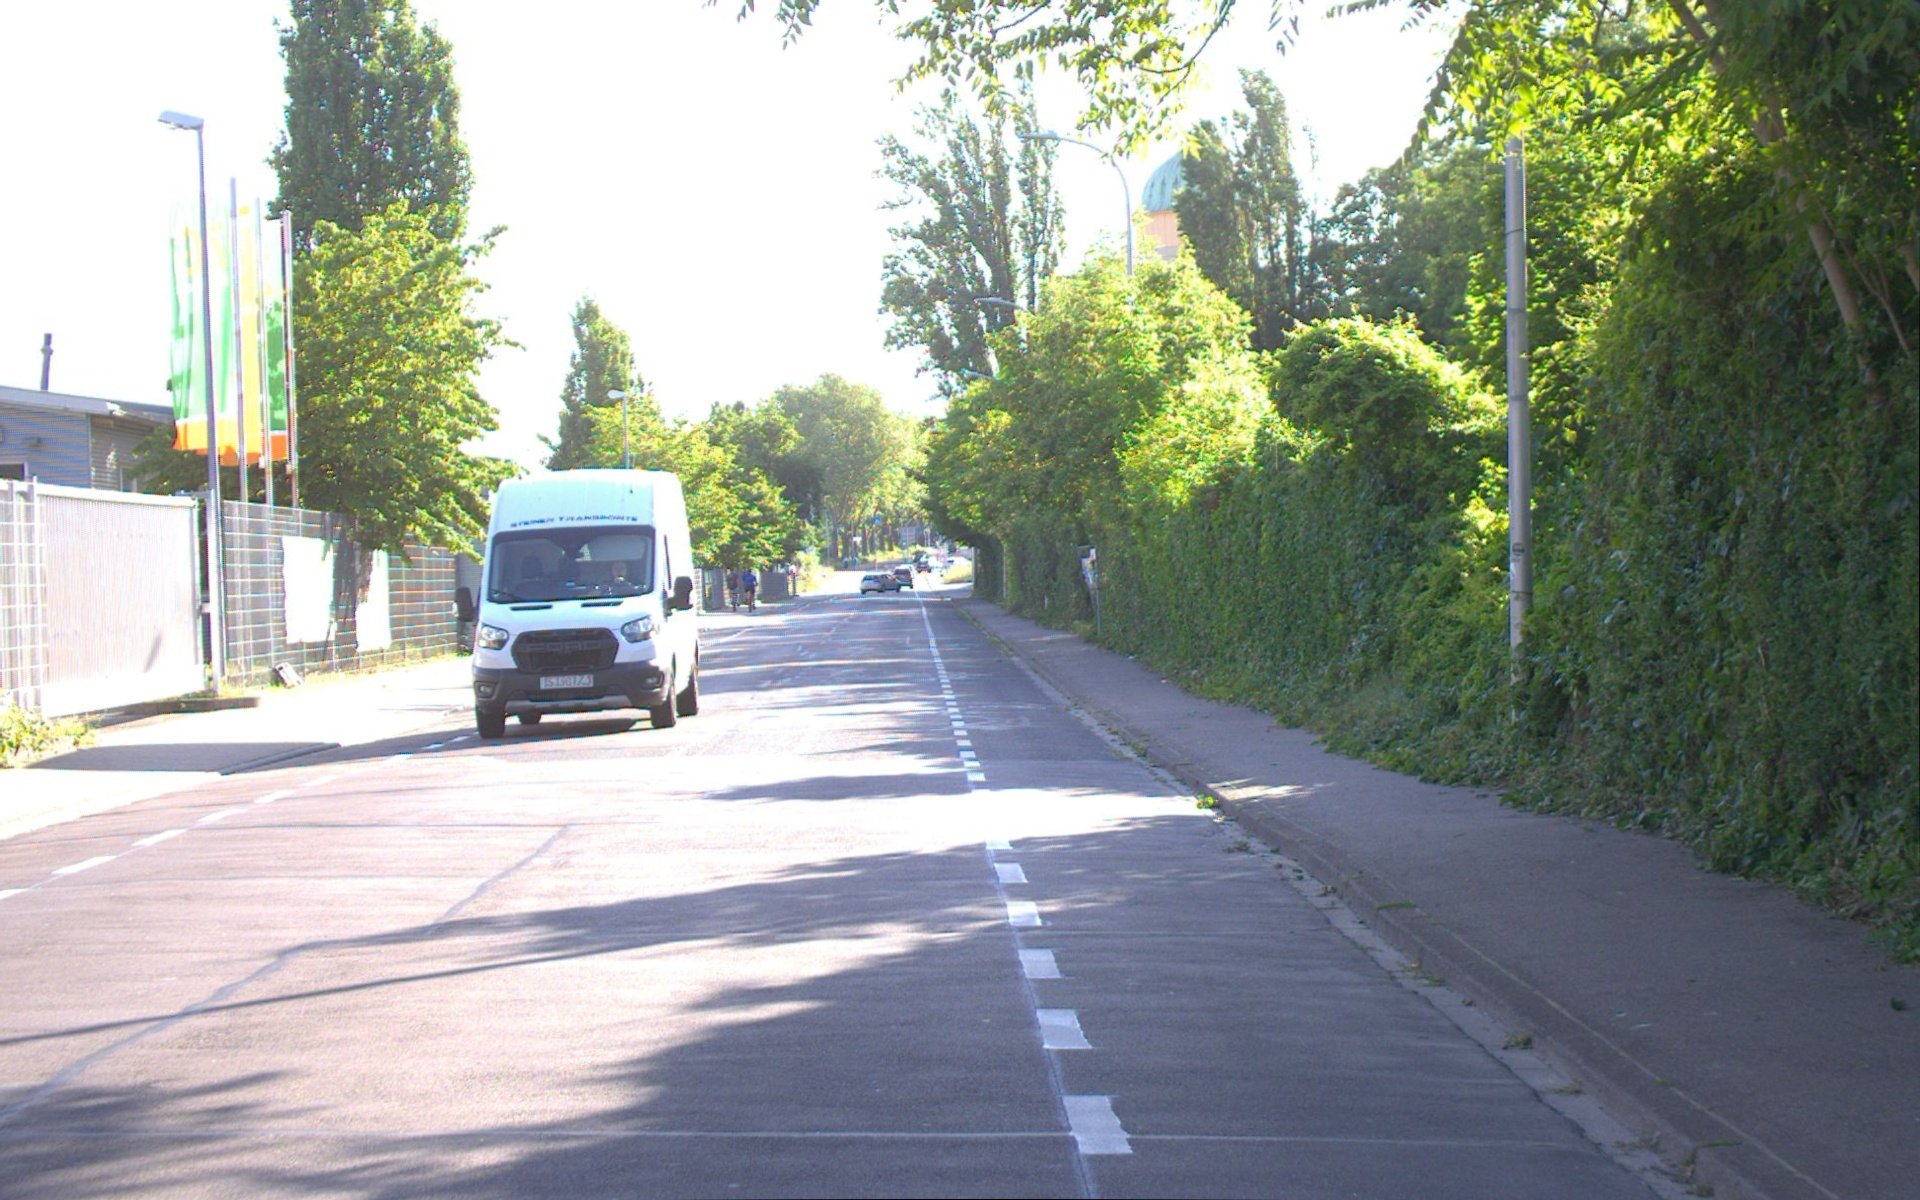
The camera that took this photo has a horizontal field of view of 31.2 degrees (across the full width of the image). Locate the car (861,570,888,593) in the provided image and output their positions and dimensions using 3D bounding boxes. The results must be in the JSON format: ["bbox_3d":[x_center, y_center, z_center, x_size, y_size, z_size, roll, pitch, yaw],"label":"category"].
[{"bbox_3d":[-6.234,-1.359,251.388,1.942,1.645,4.310,0,1,-1],"label":"car"}]

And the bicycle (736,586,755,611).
[{"bbox_3d":[-8.931,-0.054,143.185,0.689,1.030,1.351,0,1,-1],"label":"bicycle"}]

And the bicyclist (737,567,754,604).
[{"bbox_3d":[-8.930,-0.606,143.210,0.689,1.527,0.722,0,0,-1],"label":"bicyclist"}]

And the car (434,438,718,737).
[{"bbox_3d":[-3.955,-0.131,36.516,2.123,2.771,5.926,-4,0,0],"label":"car"}]
